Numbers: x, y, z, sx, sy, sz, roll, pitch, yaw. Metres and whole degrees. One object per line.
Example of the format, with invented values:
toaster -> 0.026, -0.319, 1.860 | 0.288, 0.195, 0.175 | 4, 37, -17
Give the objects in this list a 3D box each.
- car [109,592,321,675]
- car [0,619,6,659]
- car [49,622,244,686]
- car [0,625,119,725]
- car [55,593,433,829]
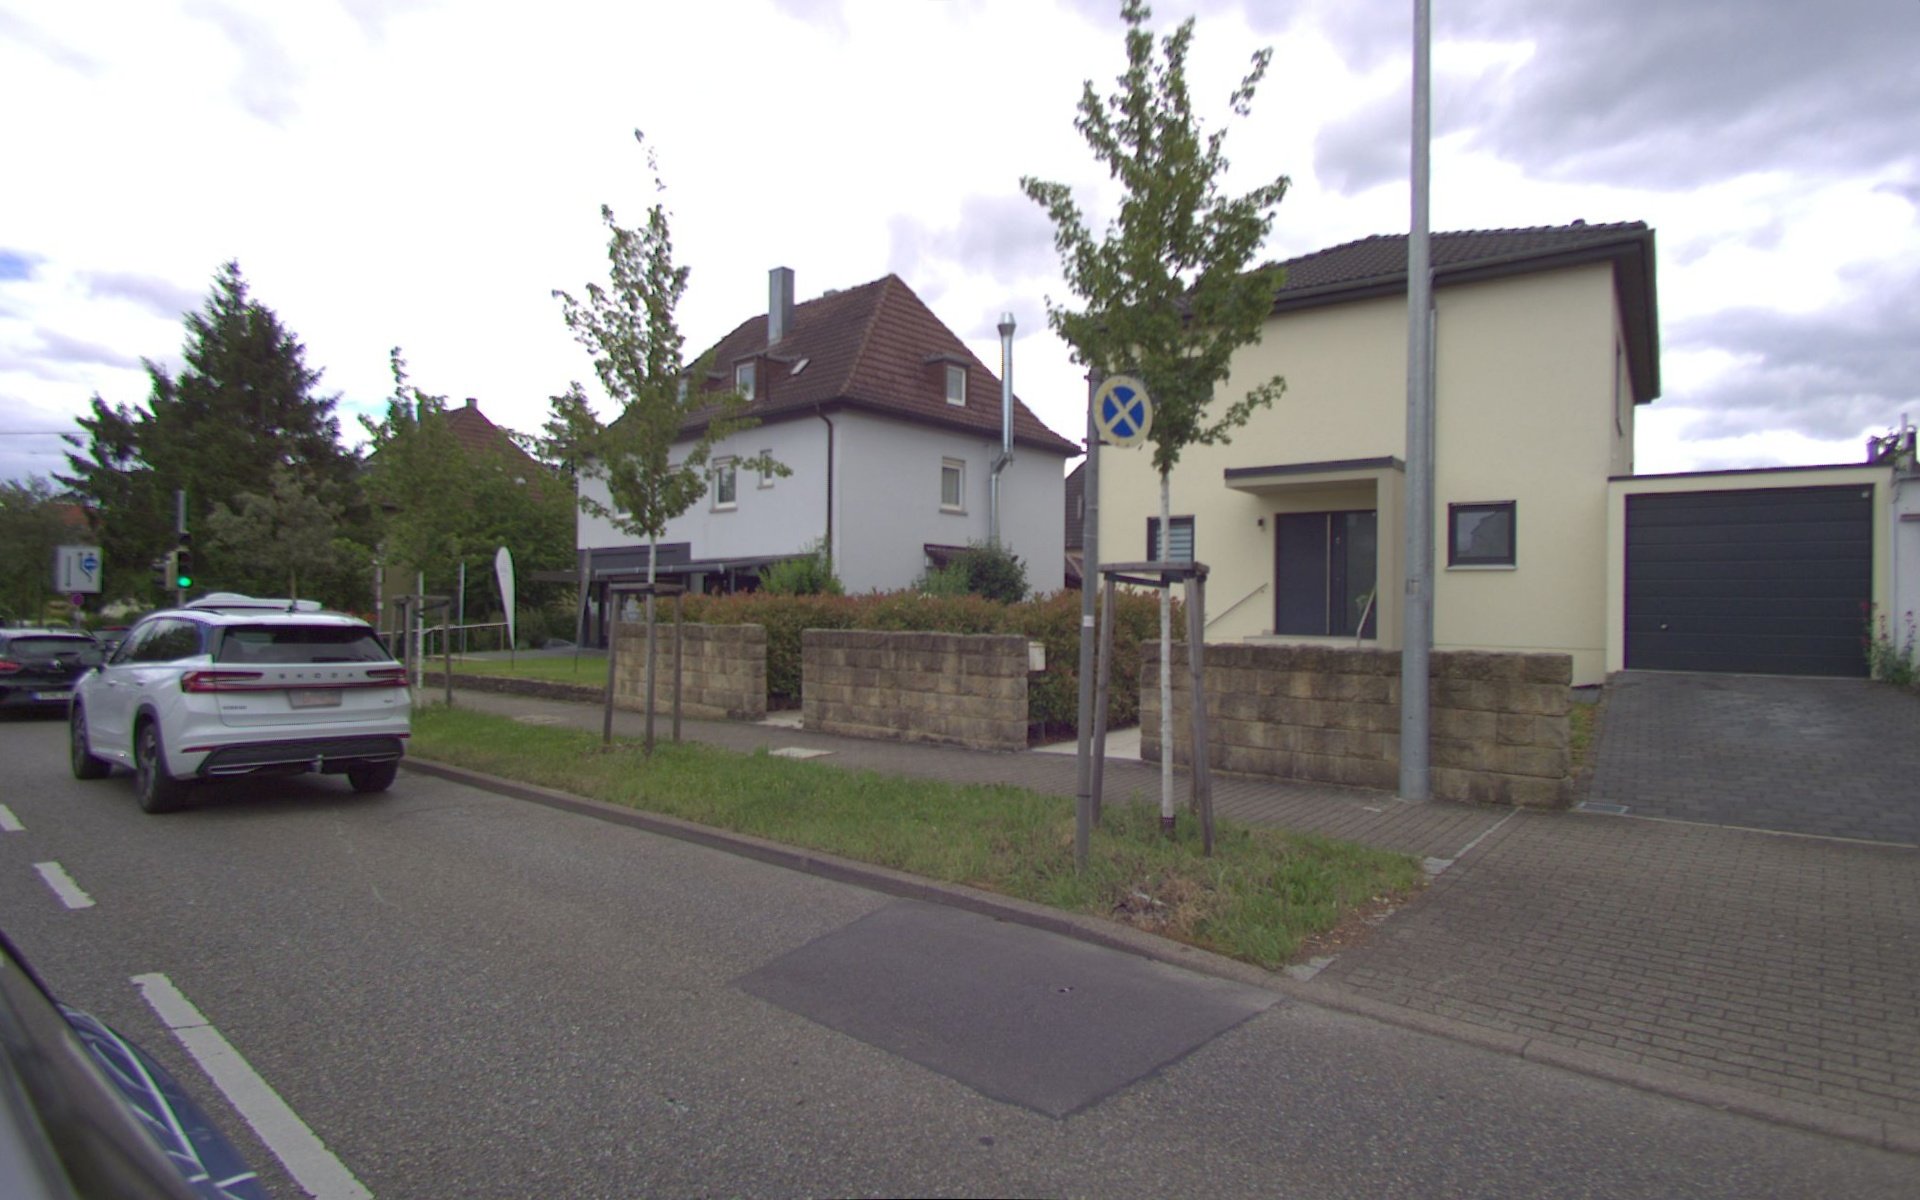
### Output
car -> -25.011, 1.185, 34.320 | 5.528, 2.583, 2.136 | 3, -3, -33
car -> -49.900, 1.971, 51.173 | 4.896, 1.964, 1.973 | -2, -2, 41
car -> -22.665, 1.443, 28.469 | 1.970, 1.633, 4.652 | 0, -1, -4
car -> -15.319, 1.161, 16.660 | 3.998, 1.483, 1.599 | -1, -3, 41
car -> -6.833, 0.872, 9.465 | 4.462, 1.706, 1.795 | -1, -3, 40
